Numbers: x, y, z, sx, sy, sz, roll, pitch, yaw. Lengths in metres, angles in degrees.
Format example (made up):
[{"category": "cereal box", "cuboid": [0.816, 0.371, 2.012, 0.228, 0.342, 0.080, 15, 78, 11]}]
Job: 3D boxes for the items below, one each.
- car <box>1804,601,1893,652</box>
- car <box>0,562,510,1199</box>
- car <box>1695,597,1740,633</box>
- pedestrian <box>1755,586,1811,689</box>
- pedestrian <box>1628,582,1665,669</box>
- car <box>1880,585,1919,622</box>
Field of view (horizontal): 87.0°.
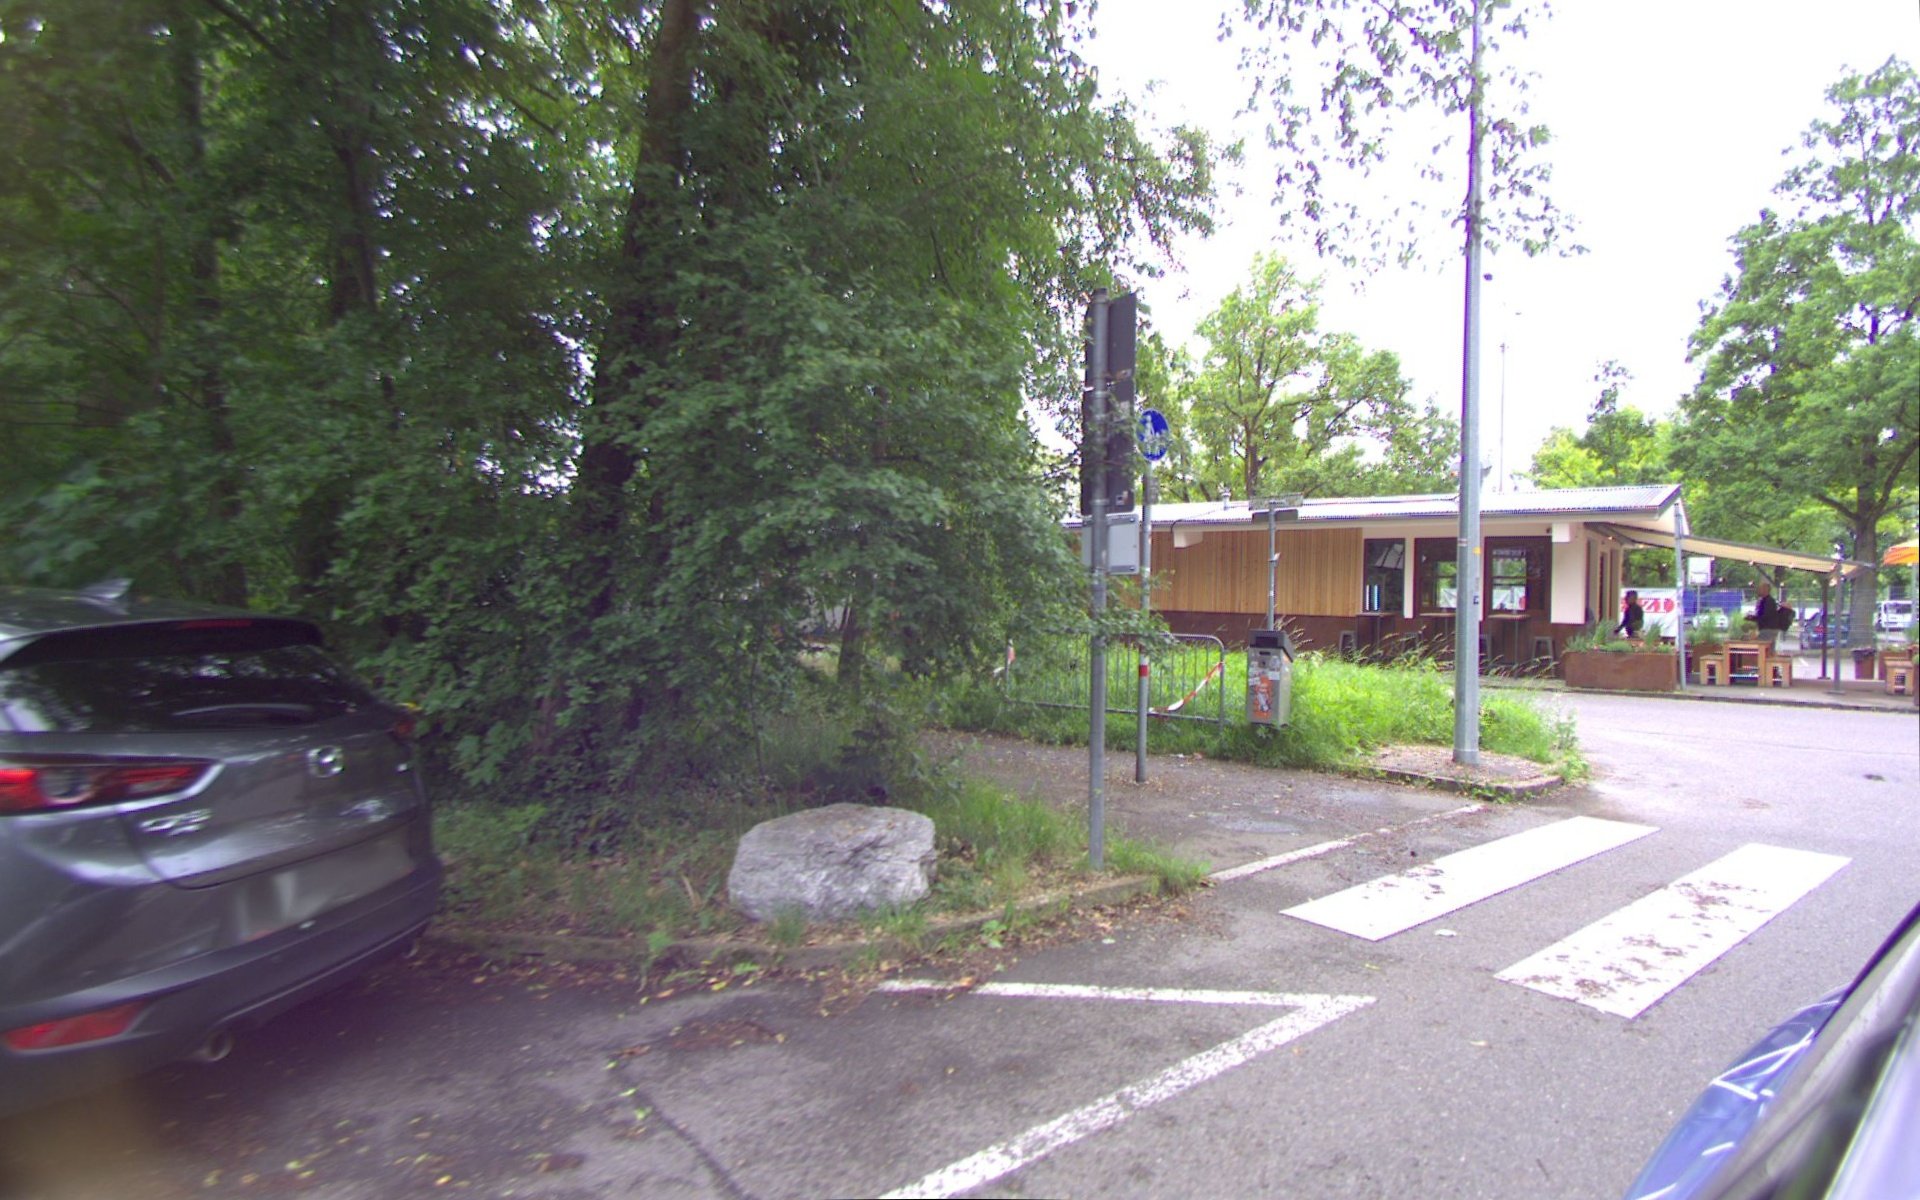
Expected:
[{"category": "car", "cuboid": [29.200, 0.829, 33.363, 1.990, 1.571, 3.944, 1, 0, 38]}, {"category": "car", "cuboid": [-3.655, 0.666, 3.232, 3.727, 1.511, 1.696, 0, 0, 7]}, {"category": "car", "cuboid": [45.318, 0.886, 60.608, 1.987, 2.039, 3.949, 1, 0, 35]}, {"category": "pedestrian", "cuboid": [15.320, 0.675, 18.844, 0.748, 1.854, 0.699, 0, -1, 45]}, {"category": "pedestrian", "cuboid": [13.564, 0.493, 19.994, 0.529, 1.688, 0.586, 0, -1, 43]}, {"category": "car", "cuboid": [55.739, 0.219, 59.489, 1.866, 2.065, 4.531, 0, 0, 35]}]
